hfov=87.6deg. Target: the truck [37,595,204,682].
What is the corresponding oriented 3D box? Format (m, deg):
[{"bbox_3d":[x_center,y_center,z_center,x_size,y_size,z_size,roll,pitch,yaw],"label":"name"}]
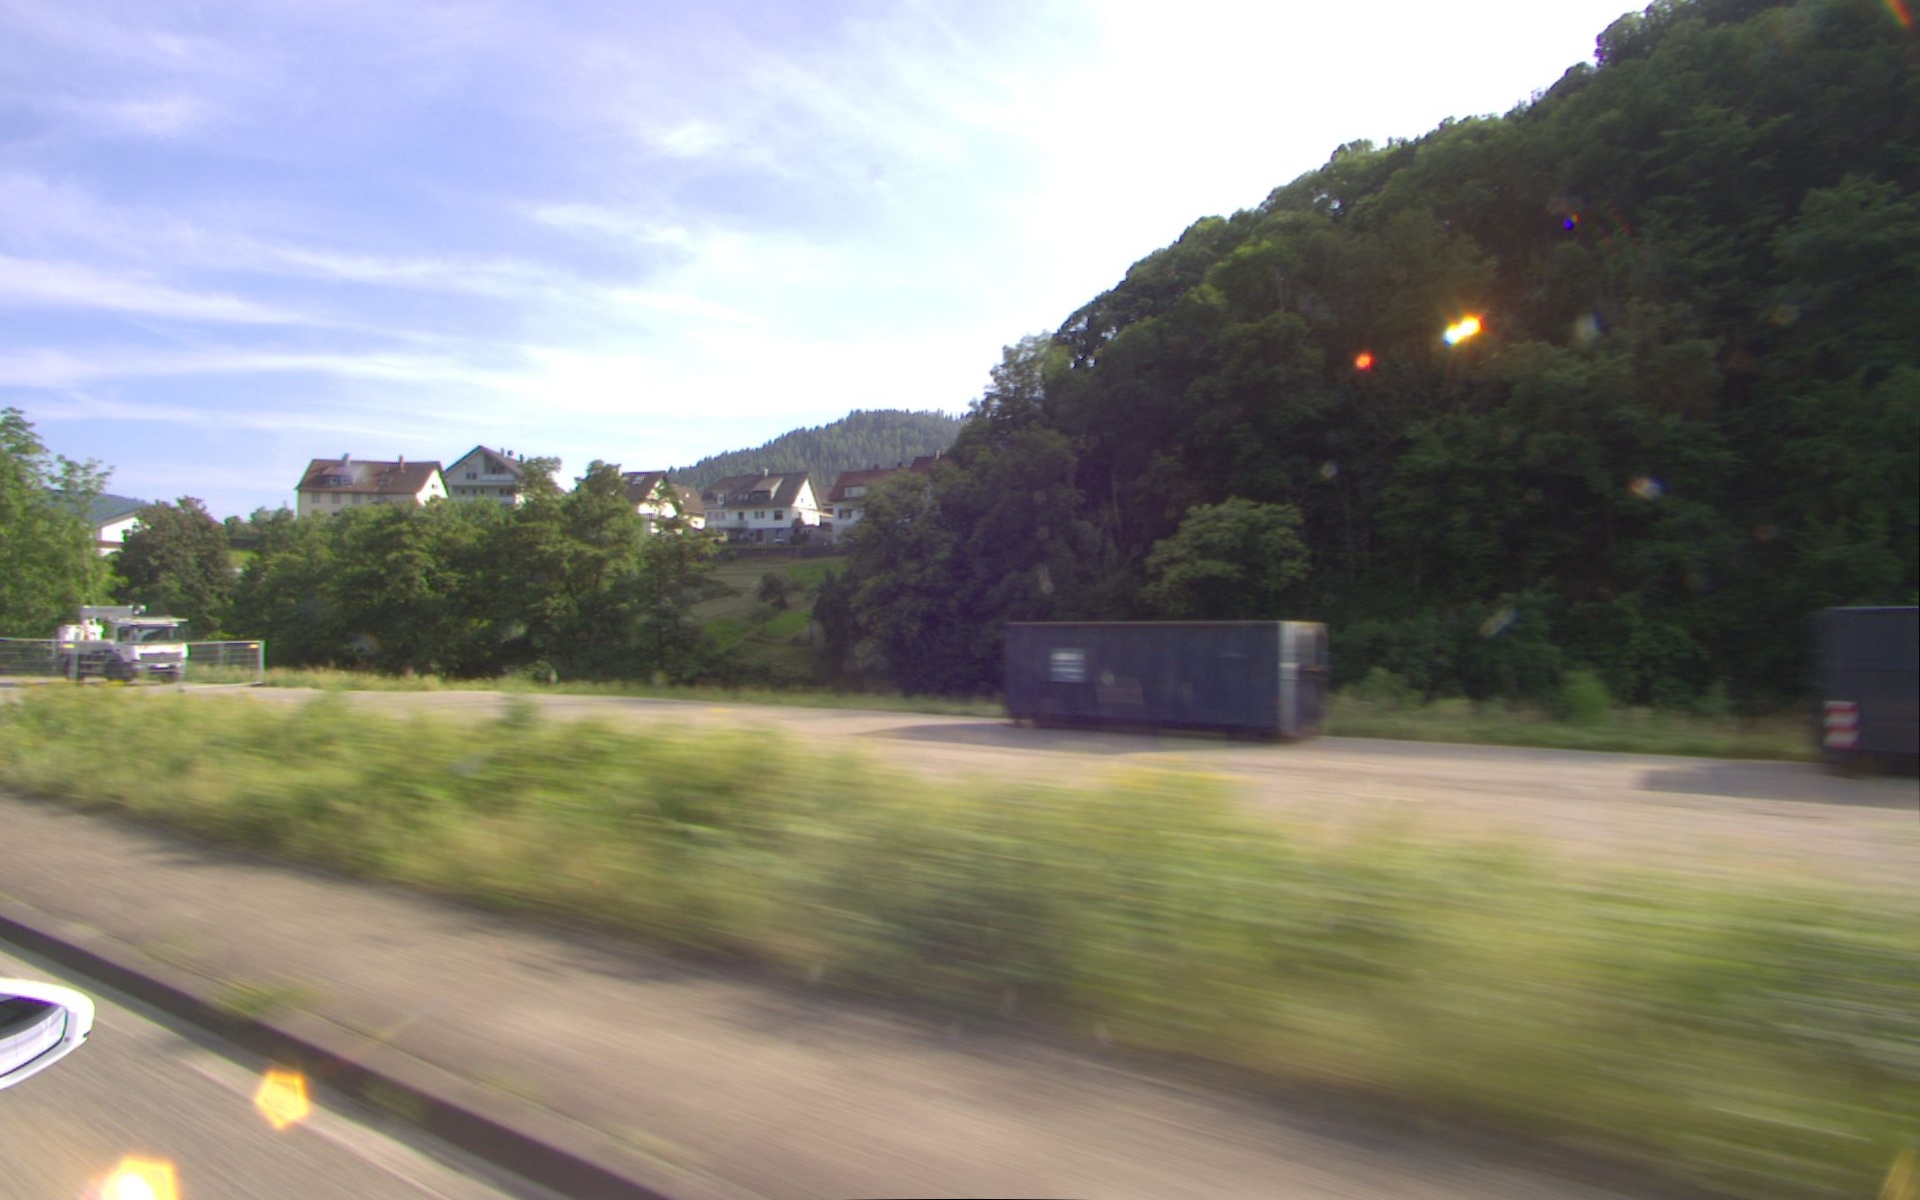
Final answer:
[{"bbox_3d":[-40.106,1.862,47.793,8.512,3.828,3.103,-1,-4,29],"label":"truck"}]
